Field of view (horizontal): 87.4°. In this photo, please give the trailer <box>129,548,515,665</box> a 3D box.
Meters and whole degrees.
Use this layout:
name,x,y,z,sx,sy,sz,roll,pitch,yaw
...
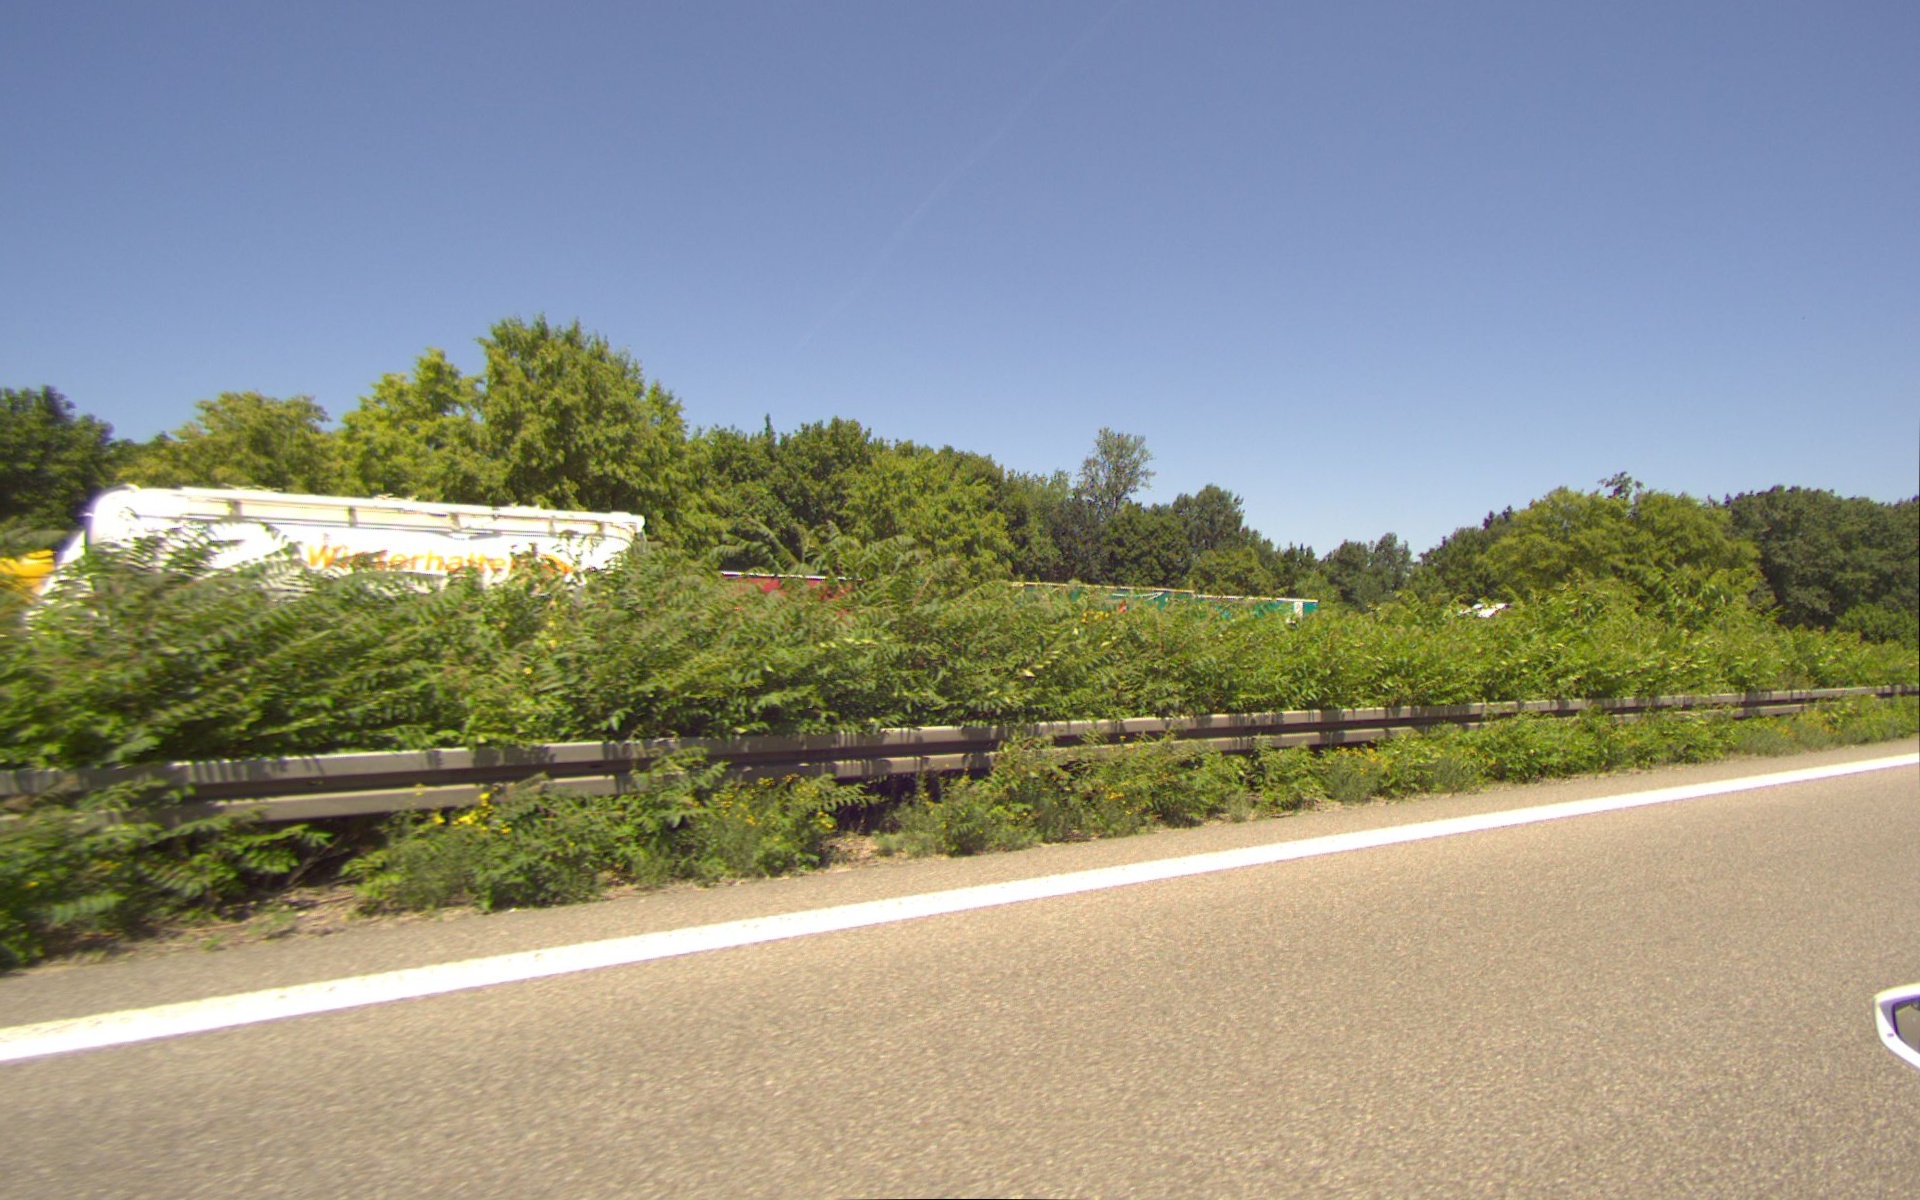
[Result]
name,x,y,z,sx,sy,sz,roll,pitch,yaw
trailer,-24.293,0.398,39.245,12.373,4.006,2.434,2,-2,-37

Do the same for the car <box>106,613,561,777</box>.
name,x,y,z,sx,sy,sz,roll,pitch,yaw
car,-6.170,0.864,10.302,3.655,1.377,1.718,1,0,-30

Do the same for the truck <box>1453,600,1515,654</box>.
name,x,y,z,sx,sy,sz,roll,pitch,yaw
truck,38.996,2.048,74.778,3.749,3.921,2.249,1,-2,-24

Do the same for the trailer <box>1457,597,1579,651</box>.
name,x,y,z,sx,sy,sz,roll,pitch,yaw
trailer,42.330,1.855,76.101,10.558,3.921,2.284,1,-2,-25

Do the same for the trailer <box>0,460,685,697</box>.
name,x,y,z,sx,sy,sz,roll,pitch,yaw
trailer,-10.030,-0.200,16.207,10.524,3.131,2.360,1,0,-31

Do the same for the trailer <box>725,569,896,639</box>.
name,x,y,z,sx,sy,sz,roll,pitch,yaw
trailer,-7.446,0.277,50.897,8.428,3.353,2.076,1,0,-32

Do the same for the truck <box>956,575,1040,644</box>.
name,x,y,z,sx,sy,sz,roll,pitch,yaw
truck,2.169,0.589,57.503,4.400,3.795,1.985,1,-1,-29

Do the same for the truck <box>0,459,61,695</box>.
name,x,y,z,sx,sy,sz,roll,pitch,yaw
truck,-15.075,-0.359,13.239,4.345,3.120,2.335,1,0,-30

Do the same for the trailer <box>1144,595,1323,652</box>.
name,x,y,z,sx,sy,sz,roll,pitch,yaw
trailer,20.973,1.833,76.417,14.704,4.047,2.957,1,-1,-25

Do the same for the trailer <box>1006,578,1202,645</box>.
name,x,y,z,sx,sy,sz,roll,pitch,yaw
trailer,9.032,0.808,61.374,13.429,3.778,1.985,2,-1,-29
